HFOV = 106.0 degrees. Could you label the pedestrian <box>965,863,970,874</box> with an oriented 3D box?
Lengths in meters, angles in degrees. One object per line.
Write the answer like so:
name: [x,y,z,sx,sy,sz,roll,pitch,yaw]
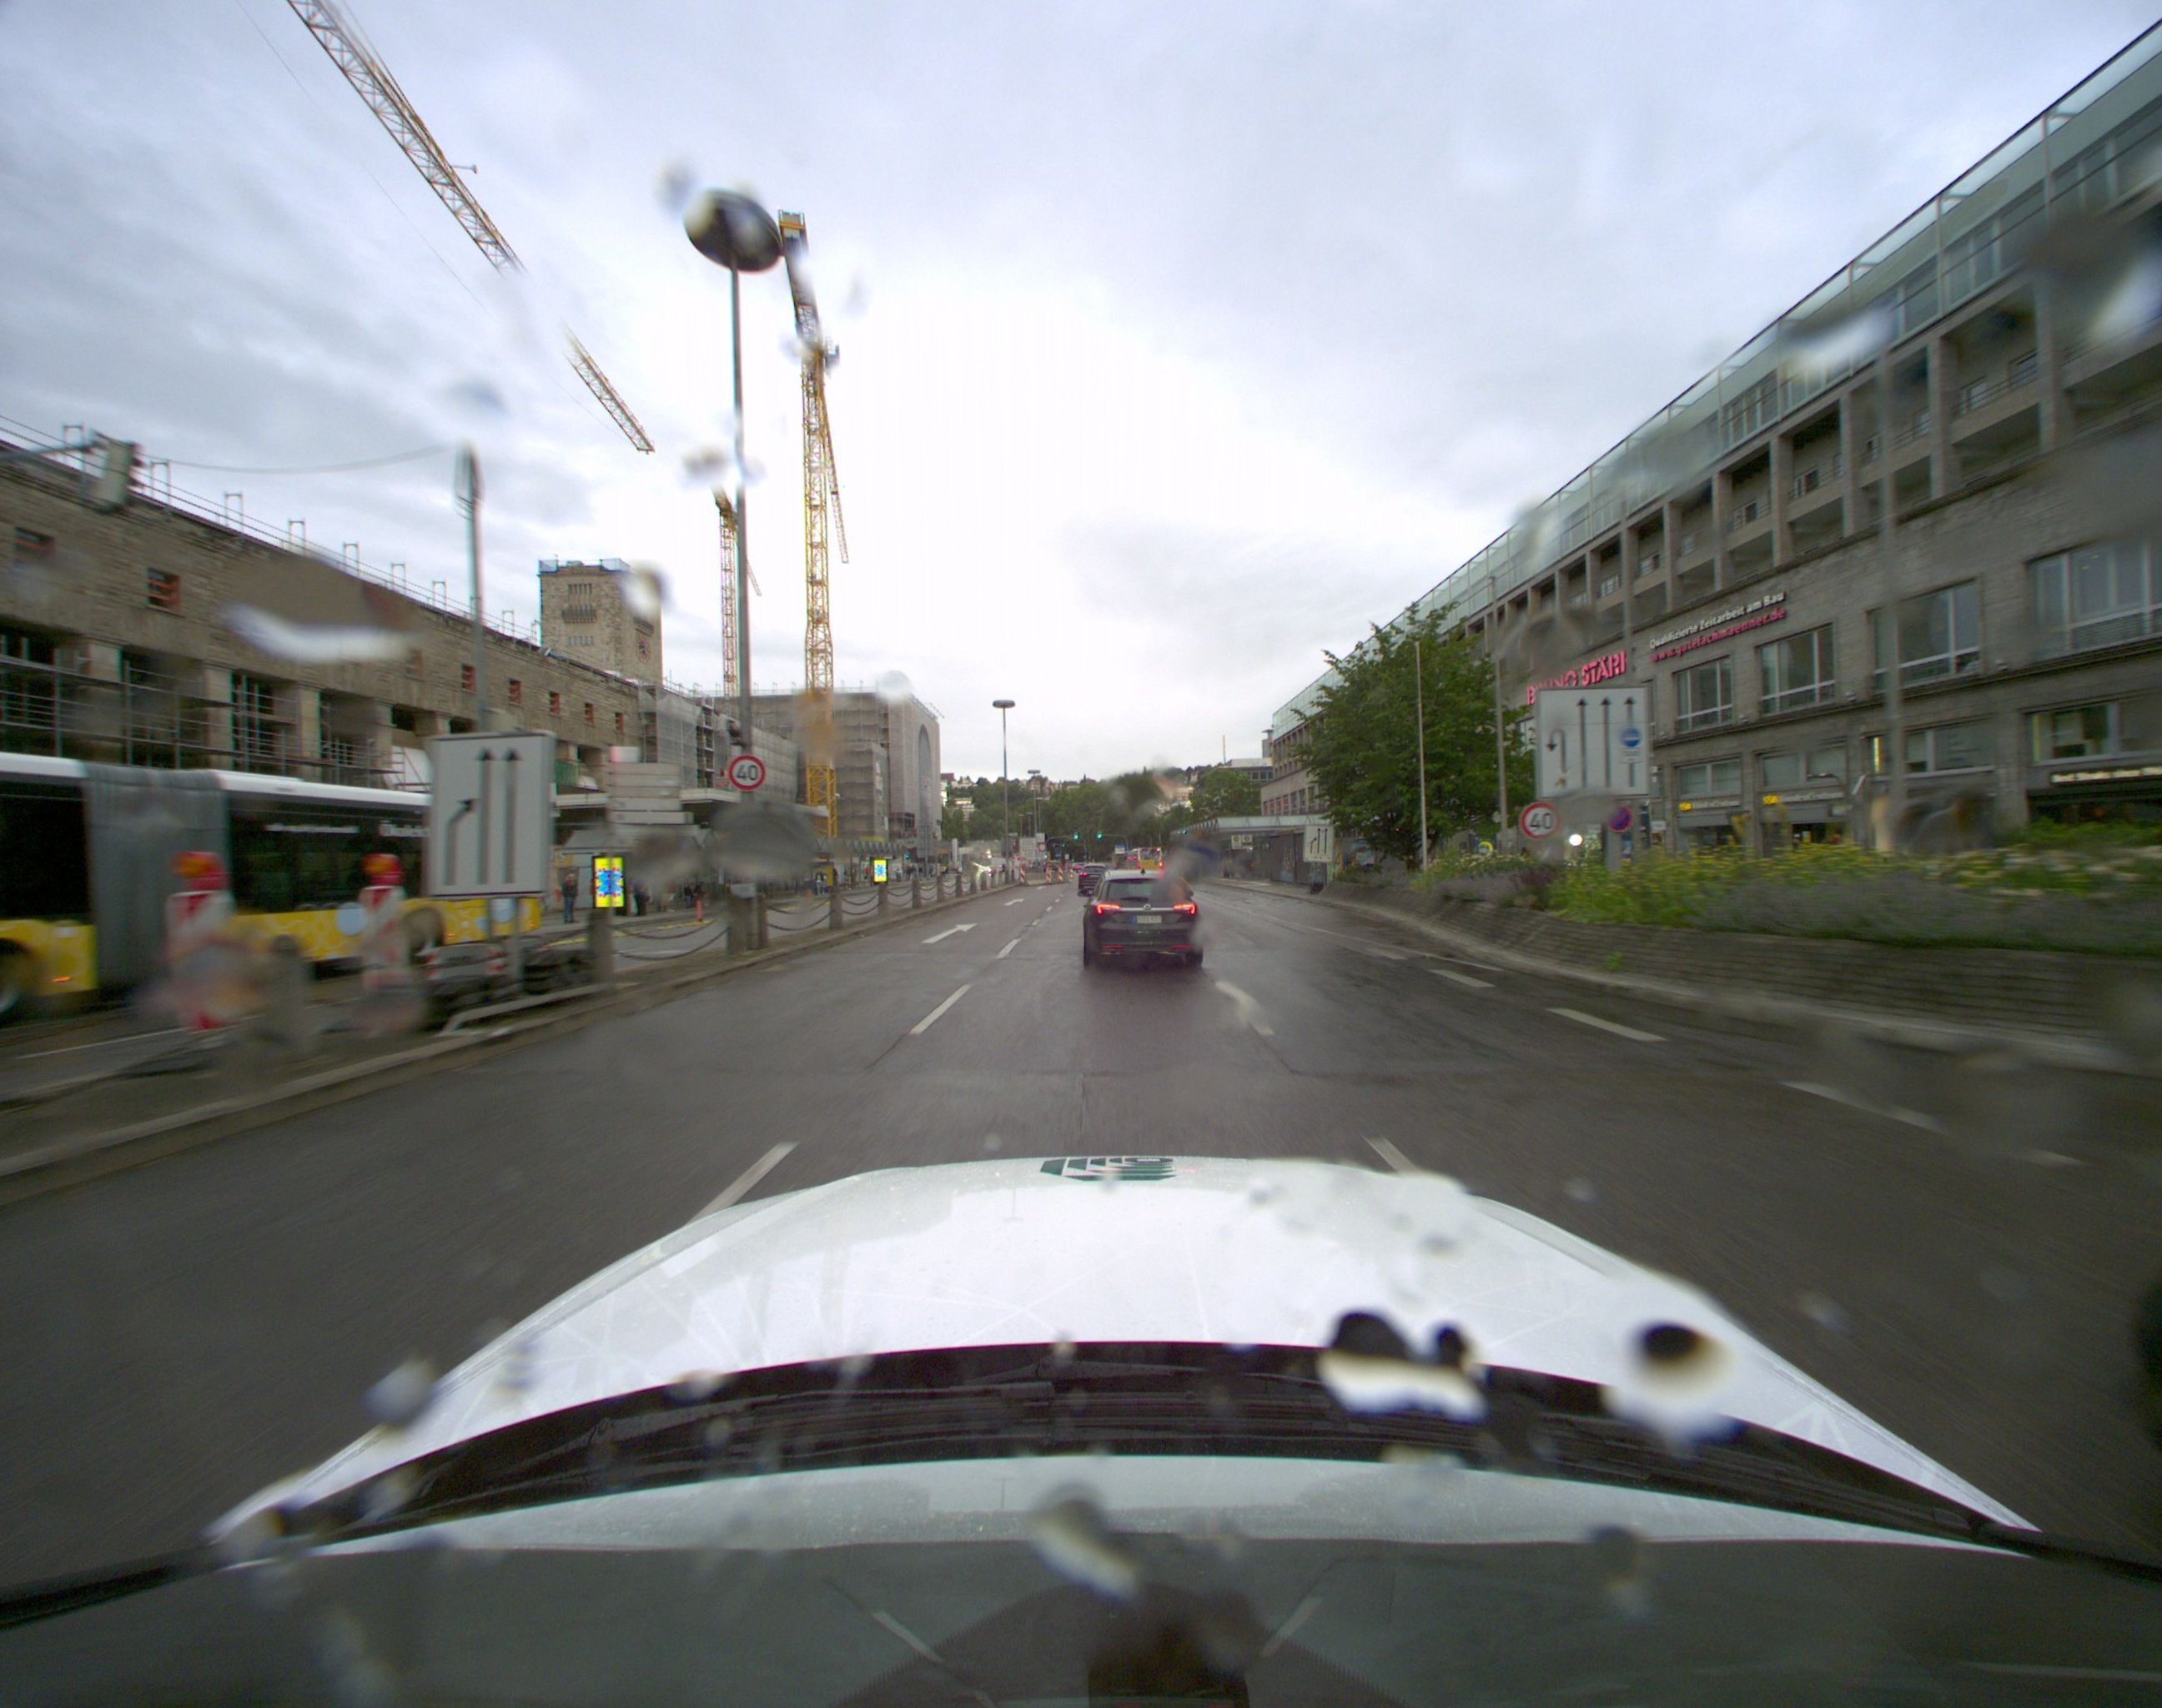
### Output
pedestrian: [-19.736,2.574,141.515,0.696,1.841,0.877,0,-1,-3]

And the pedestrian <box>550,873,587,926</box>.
pedestrian: [-17.800,1.578,28.289,0.694,1.790,0.796,-1,-1,12]

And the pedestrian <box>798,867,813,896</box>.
pedestrian: [-17.348,1.716,51.296,0.785,1.790,0.666,-1,-1,-28]

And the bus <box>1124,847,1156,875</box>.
bus: [7.142,0.904,100.244,3.104,3.205,9.237,0,-1,-1]

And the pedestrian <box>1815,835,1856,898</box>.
pedestrian: [21.493,0.354,23.199,0.530,1.751,0.636,-1,-1,-2]

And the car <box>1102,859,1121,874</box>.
car: [3.458,1.431,94.014,1.847,1.717,3.995,0,-1,-3]

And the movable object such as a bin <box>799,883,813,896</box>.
movable object such as a bin: [-16.776,2.154,49.748,0.505,0.789,0.638,-3,-2,45]

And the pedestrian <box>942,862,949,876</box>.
pedestrian: [-18.369,1.981,110.127,0.876,1.841,0.834,-1,-1,-14]

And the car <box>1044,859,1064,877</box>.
car: [-2.731,1.373,82.961,1.988,1.706,4.828,-2,-1,-2]

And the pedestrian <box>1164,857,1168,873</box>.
pedestrian: [10.197,1.333,97.818,0.441,1.837,0.578,-1,-1,4]

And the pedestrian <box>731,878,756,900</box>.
pedestrian: [-18.590,1.933,44.866,0.946,1.158,1.054,-1,-1,0]

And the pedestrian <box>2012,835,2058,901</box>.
pedestrian: [25.897,0.370,22.110,0.524,1.751,0.572,-1,-1,0]

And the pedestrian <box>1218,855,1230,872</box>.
pedestrian: [15.467,1.004,87.825,0.791,1.805,0.983,-1,-1,-29]

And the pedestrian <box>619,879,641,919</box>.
pedestrian: [-19.215,1.904,34.736,0.555,1.630,0.803,-1,-1,-8]

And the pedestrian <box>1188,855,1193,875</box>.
pedestrian: [10.235,1.017,76.269,0.345,1.837,0.533,-1,-1,3]

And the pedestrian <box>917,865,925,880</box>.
pedestrian: [-21.181,2.440,107.771,0.835,1.841,1.059,-1,-1,3]

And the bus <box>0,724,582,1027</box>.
bus: [-14.180,0.316,10.537,2.898,3.578,19.088,-2,-1,2]

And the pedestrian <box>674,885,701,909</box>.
pedestrian: [-18.385,2.000,38.075,0.841,1.093,0.925,-1,-1,-1]

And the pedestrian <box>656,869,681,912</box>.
pedestrian: [-17.471,1.546,34.518,0.723,1.790,0.746,-1,-1,-6]

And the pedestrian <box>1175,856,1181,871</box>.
pedestrian: [11.776,1.119,98.774,0.563,1.837,0.570,-1,-1,3]

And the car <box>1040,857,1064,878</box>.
car: [-2.712,1.277,77.557,1.986,1.862,4.833,-2,-1,1]

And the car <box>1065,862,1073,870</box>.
car: [-2.506,2.580,171.803,1.700,1.665,3.706,0,-1,1]

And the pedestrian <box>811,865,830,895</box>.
pedestrian: [-15.830,1.558,49.530,0.771,1.790,0.862,-1,-1,7]

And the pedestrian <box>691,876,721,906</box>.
pedestrian: [-18.456,1.814,40.093,1.052,1.432,0.830,-1,-1,-2]

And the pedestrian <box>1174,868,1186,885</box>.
pedestrian: [10.165,2.273,83.489,0.762,1.690,0.992,-1,-1,-21]

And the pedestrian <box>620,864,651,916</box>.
pedestrian: [-17.259,1.373,31.542,0.757,1.959,0.822,-1,-1,-3]

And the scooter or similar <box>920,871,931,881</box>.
scooter or similar: [-17.892,2.532,93.881,0.454,1.066,1.248,-1,-1,34]

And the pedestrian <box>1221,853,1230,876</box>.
pedestrian: [12.081,0.878,68.095,0.673,1.837,0.574,-1,-1,1]

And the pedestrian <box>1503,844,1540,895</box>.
pedestrian: [15.270,0.530,28.269,0.638,1.751,1.076,-1,-1,-2]

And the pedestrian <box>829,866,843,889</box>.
pedestrian: [-19.558,1.883,65.087,0.738,1.841,0.705,-1,-1,20]

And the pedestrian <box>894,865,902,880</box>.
pedestrian: [-21.929,2.220,97.584,0.718,1.841,0.612,-1,-1,3]

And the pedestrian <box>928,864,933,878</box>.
pedestrian: [-20.546,2.352,111.053,0.571,1.841,0.701,-1,-1,-14]

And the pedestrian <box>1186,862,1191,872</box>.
pedestrian: [13.765,1.628,104.548,0.512,1.232,0.770,-2,-1,2]

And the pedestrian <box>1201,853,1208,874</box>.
pedestrian: [13.179,0.996,86.908,0.588,2.215,0.587,-1,-1,2]

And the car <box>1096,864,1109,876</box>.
car: [2.898,2.145,111.612,1.669,1.581,3.237,0,-1,-1]

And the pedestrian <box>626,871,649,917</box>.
pedestrian: [-17.828,1.589,32.776,0.555,1.790,0.803,-1,-1,-8]

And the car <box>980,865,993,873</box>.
car: [-17.373,2.733,149.607,1.987,1.468,3.999,0,-1,0]

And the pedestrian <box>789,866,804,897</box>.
pedestrian: [-17.181,1.681,49.216,0.682,1.848,0.550,0,-1,-45]

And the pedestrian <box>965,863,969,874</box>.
pedestrian: [-19.704,2.567,140.798,0.696,1.841,0.528,-1,-1,-3]

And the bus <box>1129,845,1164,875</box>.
bus: [7.208,0.712,91.081,3.131,3.248,9.132,0,-1,0]

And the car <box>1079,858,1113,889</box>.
car: [0.876,1.099,47.343,1.824,1.686,4.134,-1,-1,1]

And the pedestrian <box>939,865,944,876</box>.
pedestrian: [-20.753,2.459,121.150,0.682,1.685,0.834,-1,-1,-14]

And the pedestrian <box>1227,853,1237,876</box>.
pedestrian: [12.424,0.855,67.042,0.625,1.837,0.642,-1,-1,2]

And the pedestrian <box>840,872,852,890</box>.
pedestrian: [-18.171,2.102,63.047,0.697,1.326,0.805,-1,-1,-2]

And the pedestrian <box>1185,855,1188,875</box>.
pedestrian: [9.898,1.042,76.248,0.242,1.837,0.512,-1,-1,3]

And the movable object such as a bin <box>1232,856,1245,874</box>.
movable object such as a bin: [14.642,1.002,75.603,0.665,1.652,1.040,-1,-1,-23]

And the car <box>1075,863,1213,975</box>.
car: [0.928,0.920,13.667,1.871,1.508,4.852,-1,-1,1]

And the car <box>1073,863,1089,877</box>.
car: [-0.002,2.284,118.124,1.980,2.014,4.363,0,-1,-4]

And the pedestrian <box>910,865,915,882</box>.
pedestrian: [-18.429,2.156,89.138,0.507,1.841,0.703,-1,-1,-6]

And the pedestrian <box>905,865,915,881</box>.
pedestrian: [-19.395,2.118,92.160,0.695,1.841,0.883,-1,-1,28]

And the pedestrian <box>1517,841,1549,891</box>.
pedestrian: [16.017,0.430,28.885,0.611,1.751,0.868,-1,-1,-2]
